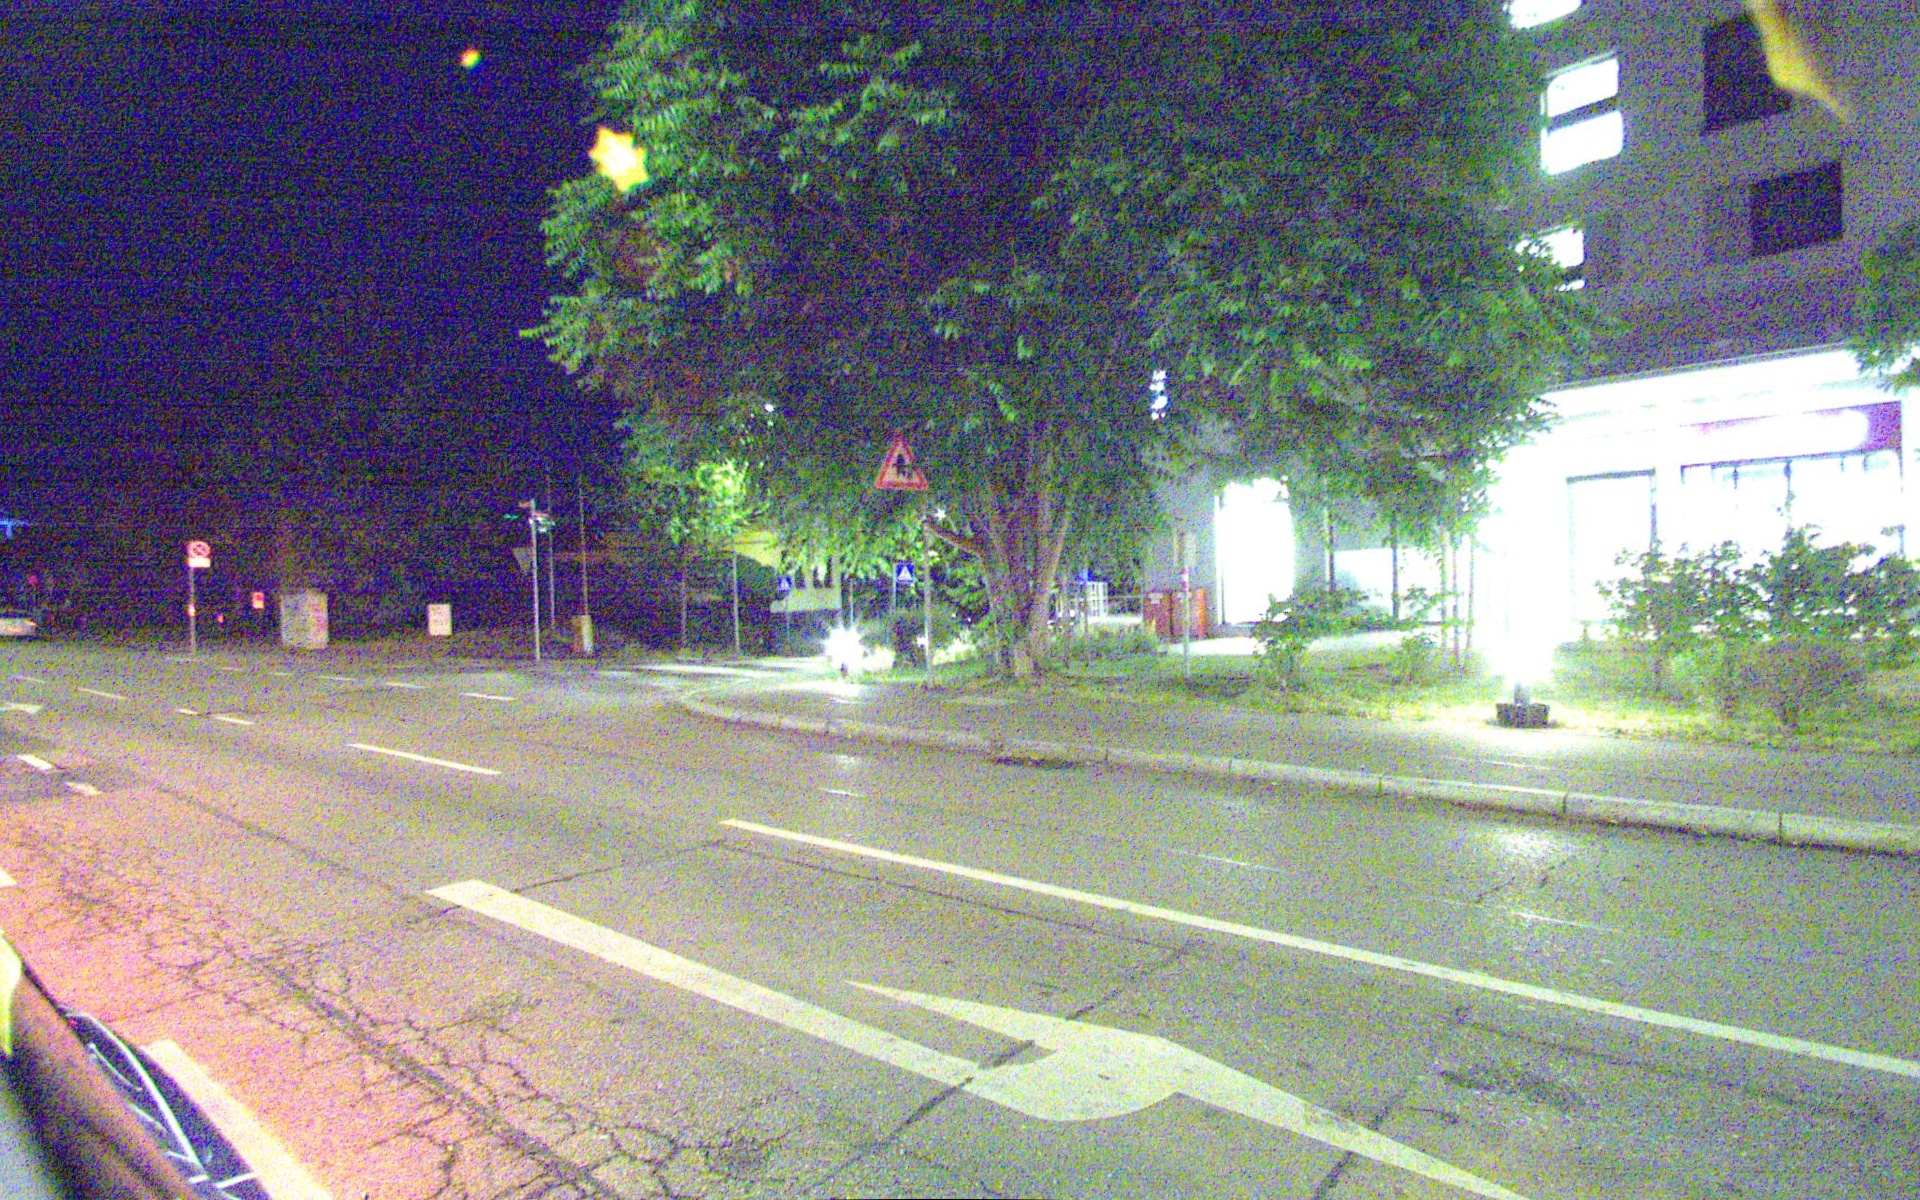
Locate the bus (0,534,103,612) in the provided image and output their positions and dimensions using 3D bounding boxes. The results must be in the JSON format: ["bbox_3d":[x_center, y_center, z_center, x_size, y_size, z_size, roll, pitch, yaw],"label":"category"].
[{"bbox_3d":[-88.501,-2.360,98.179,14.776,6.990,6.056,-1,0,41],"label":"bus"}]

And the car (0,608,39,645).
[{"bbox_3d":[-43.143,1.188,45.638,3.995,1.604,1.784,-1,0,39],"label":"car"}]
